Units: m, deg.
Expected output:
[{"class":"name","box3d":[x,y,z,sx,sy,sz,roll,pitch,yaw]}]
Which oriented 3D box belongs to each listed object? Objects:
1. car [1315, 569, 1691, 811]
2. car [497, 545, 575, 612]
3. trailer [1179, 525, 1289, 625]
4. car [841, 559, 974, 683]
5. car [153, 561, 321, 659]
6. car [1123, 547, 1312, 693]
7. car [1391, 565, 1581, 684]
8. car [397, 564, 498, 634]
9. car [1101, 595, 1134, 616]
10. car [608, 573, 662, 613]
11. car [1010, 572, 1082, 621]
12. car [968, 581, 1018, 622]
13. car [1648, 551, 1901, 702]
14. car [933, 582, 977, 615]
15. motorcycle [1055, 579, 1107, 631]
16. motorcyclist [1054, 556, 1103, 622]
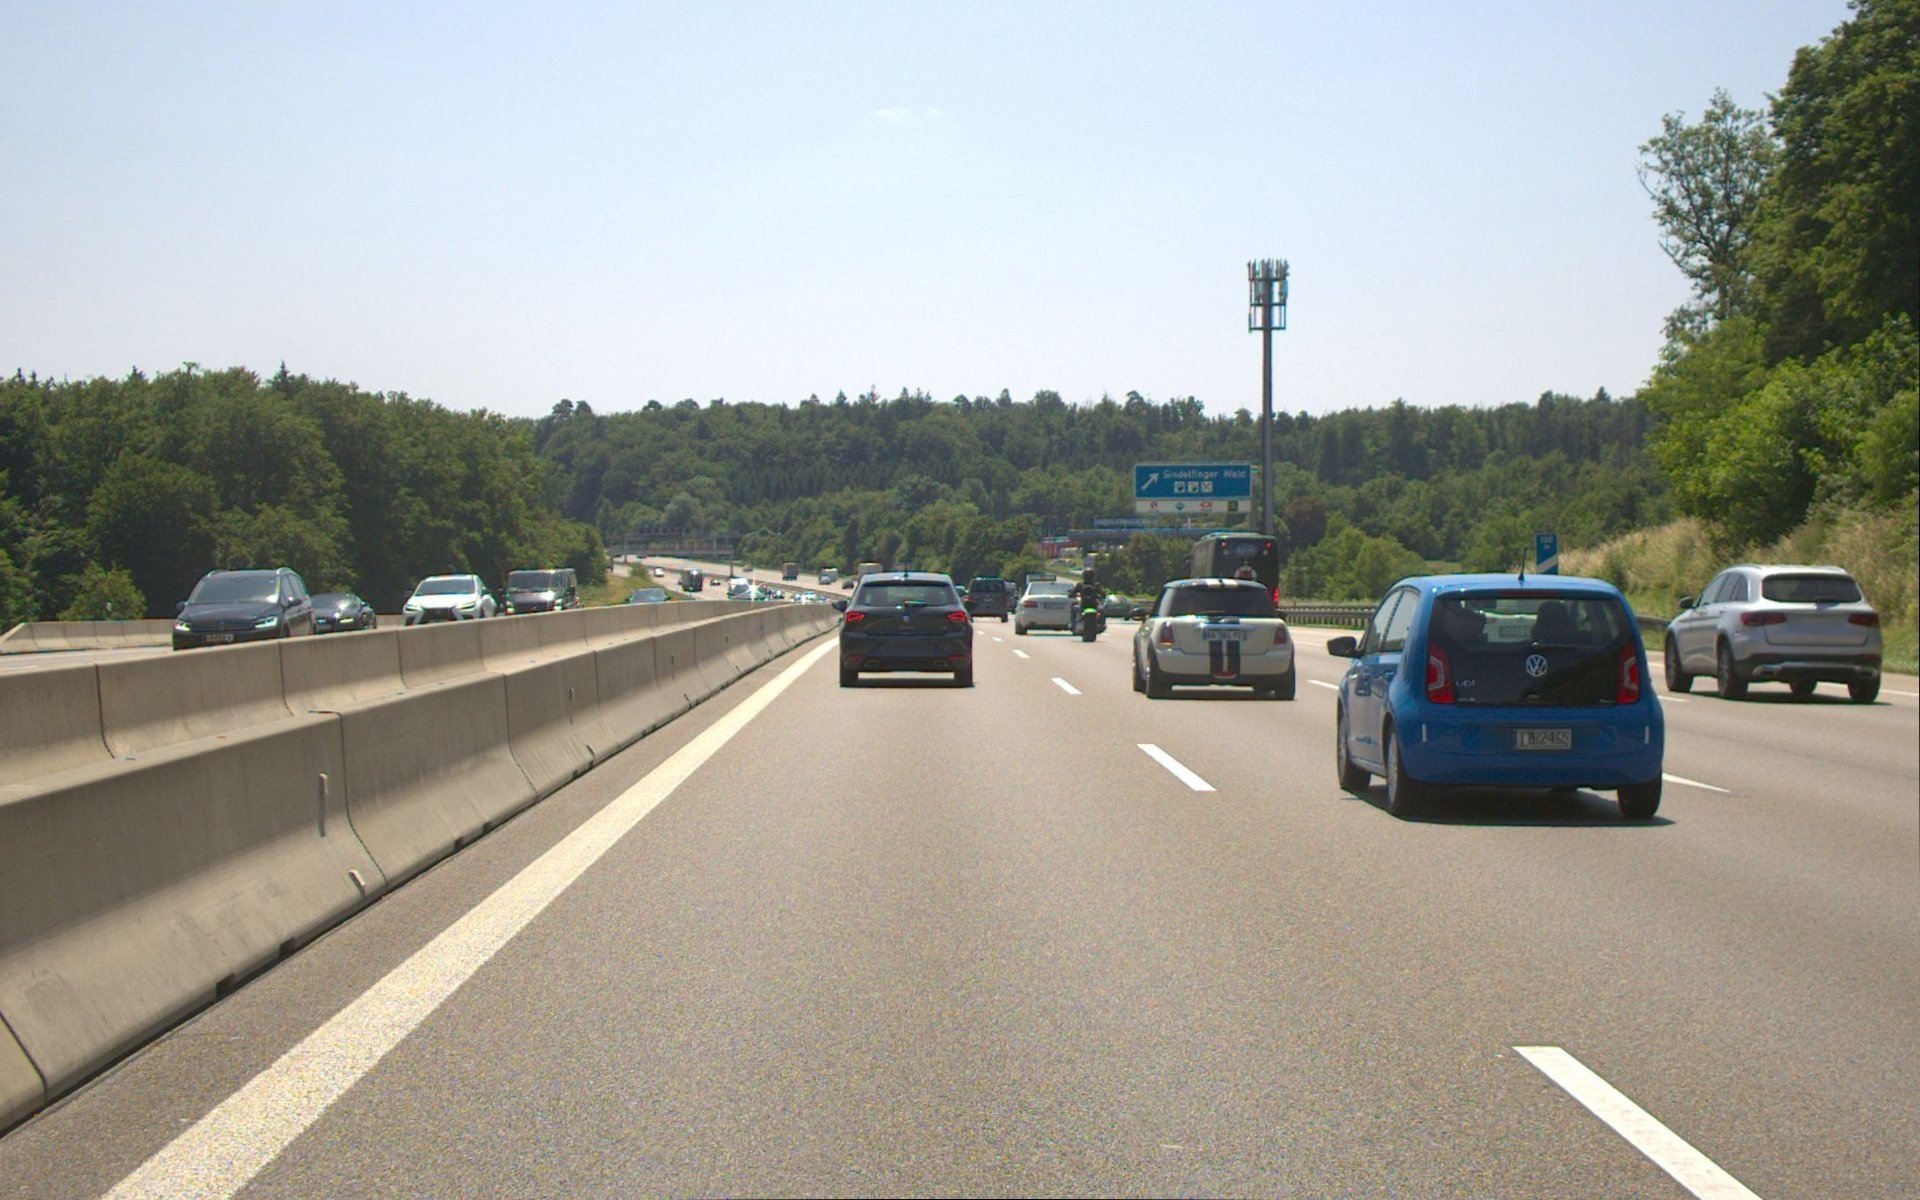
[{"class":"car","box3d":[3.361,0.515,21.954,1.737,1.406,4.000,0,0,0]},{"class":"car","box3d":[-13.077,-0.670,106.249,1.993,2.007,4.813,0,1,-3]},{"class":"trailer","box3d":[10.569,-0.878,134.004,2.857,3.675,13.543,-1,0,-1]},{"class":"car","box3d":[-0.666,0.237,44.335,1.624,1.482,3.685,1,1,-1]},{"class":"car","box3d":[-12.000,0.138,57.363,1.801,1.543,4.729,0,1,0]},{"class":"car","box3d":[3.006,0.265,40.864,1.841,1.547,4.000,3,-1,0]},{"class":"car","box3d":[6.739,0.274,44.427,1.666,1.428,4.376,0,1,-2]},{"class":"car","box3d":[-12.530,-0.052,84.274,1.895,1.657,4.729,-1,1,-2]},{"class":"car","box3d":[9.140,0.316,199.473,1.608,1.208,3.460,-1,0,-2]},{"class":"car","box3d":[-14.683,-0.336,155.576,1.993,1.669,5.281,-3,0,-1]},{"class":"car","box3d":[2.292,-0.103,92.349,1.782,1.261,3.460,0,1,-1]},{"class":"car","box3d":[1.498,0.055,157.696,2.097,1.845,4.081,0,1,-1]},{"class":"car","box3d":[10.050,0.274,42.832,1.801,1.725,5.240,1,1,-1]},{"class":"car","box3d":[-0.284,-0.111,185.308,1.993,1.678,4.424,1,1,-5]},{"class":"motorcycle","box3d":[2.693,0.106,76.902,0.977,1.125,2.271,0,1,-2]},{"class":"motorcyclist","box3d":[2.648,-0.249,76.739,0.962,1.433,1.235,-2,1,-2]}]
